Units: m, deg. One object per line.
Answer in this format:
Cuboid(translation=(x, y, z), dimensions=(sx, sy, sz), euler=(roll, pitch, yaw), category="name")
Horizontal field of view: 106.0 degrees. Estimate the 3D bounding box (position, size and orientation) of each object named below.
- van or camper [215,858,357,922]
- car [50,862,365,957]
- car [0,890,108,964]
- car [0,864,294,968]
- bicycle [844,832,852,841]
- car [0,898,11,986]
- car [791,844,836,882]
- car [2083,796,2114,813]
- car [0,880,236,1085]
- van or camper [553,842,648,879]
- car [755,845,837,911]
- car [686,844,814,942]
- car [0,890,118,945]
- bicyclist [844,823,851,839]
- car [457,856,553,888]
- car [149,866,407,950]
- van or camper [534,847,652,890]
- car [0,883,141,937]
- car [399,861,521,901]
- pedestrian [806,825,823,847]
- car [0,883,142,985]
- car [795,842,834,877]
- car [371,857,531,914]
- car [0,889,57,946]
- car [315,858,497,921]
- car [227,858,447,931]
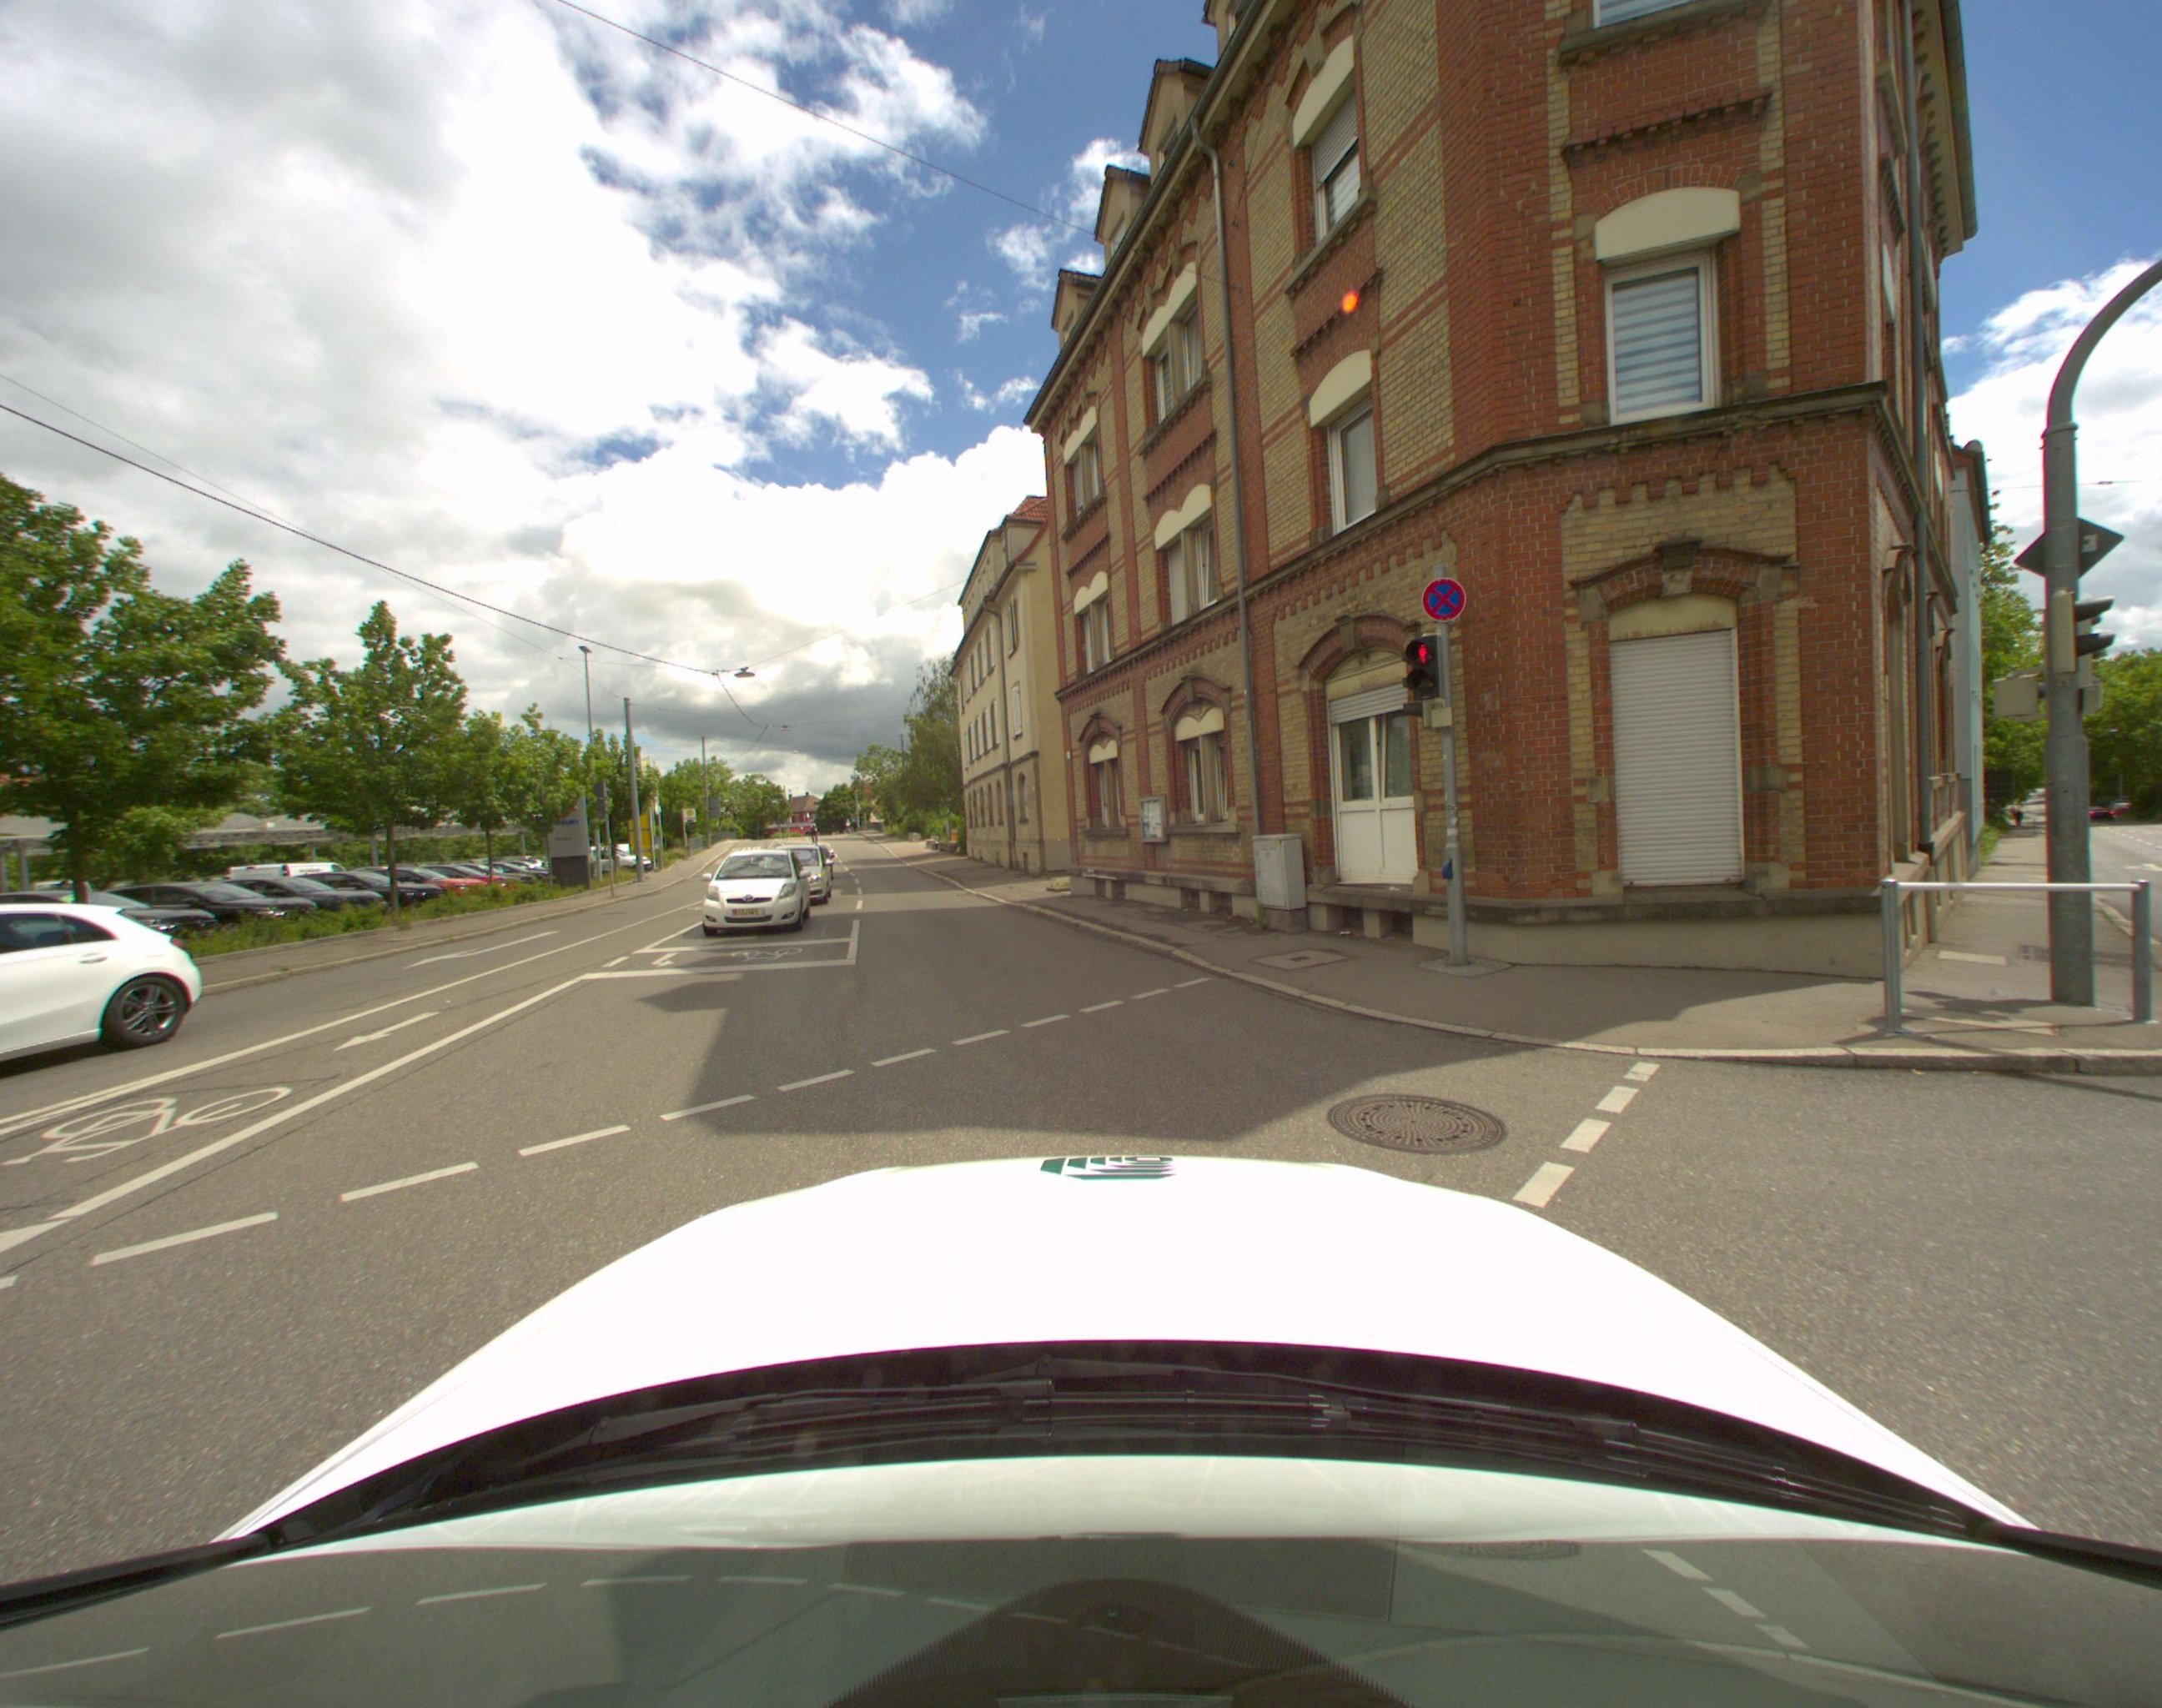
Cuboid(translation=(-31.162, 1.320, 32.145), dimensions=(1.999, 2.013, 4.657), euler=(-5, 3, -18), category="van or camper")
Cuboid(translation=(-19.047, 1.137, 18.048), dimensions=(4.291, 1.497, 1.802), euler=(-5, 3, -18), category="car")
Cuboid(translation=(-23.872, 1.675, 17.535), dimensions=(3.326, 1.373, 1.508), euler=(-5, 3, -19), category="car")
Cuboid(translation=(-18.405, 1.147, 15.646), dimensions=(4.219, 1.497, 1.802), euler=(-5, 3, -18), category="car")
Cuboid(translation=(-26.930, -1.978, 94.164), dimensions=(0.689, 0.878, 2.091), euler=(-3, -2, -14), category="bicycle")
Cuboid(translation=(-17.419, 1.354, 10.501), dimensions=(3.994, 1.497, 1.804), euler=(-5, 3, -15), category="car")
Cuboid(translation=(-11.719, 0.362, 35.623), dimensions=(1.724, 1.484, 3.301), euler=(-2, 1, -19), category="car")
Cuboid(translation=(112.816, -5.424, 90.337), dimensions=(4.637, 1.717, 1.976), euler=(-3, 0, -41), category="car")
Cuboid(translation=(-9.194, 1.117, 5.838), dimensions=(1.716, 1.496, 4.455), euler=(-5, 1, -5), category="car")
Cuboid(translation=(-29.655, 0.350, 50.474), dimensions=(1.969, 1.963, 4.980), euler=(-2, 3, 14), category="van or camper")
Cuboid(translation=(-7.710, 0.573, 22.401), dimensions=(1.722, 1.581, 4.297), euler=(-2, 1, -15), category="car")
Cuboid(translation=(-6.231, 0.632, 15.735), dimensions=(1.722, 1.581, 3.980), euler=(-2, 1, -15), category="car")
Cuboid(translation=(-32.248, 1.987, 24.817), dimensions=(3.326, 1.373, 1.508), euler=(-5, 3, -19), category="car")
Cuboid(translation=(-26.976, -2.654, 94.125), dimensions=(0.686, 1.826, 1.075), euler=(-3, -2, -14), category="bicyclist")
Cuboid(translation=(-32.691, 1.019, 46.311), dimensions=(1.794, 1.466, 4.027), euler=(-2, 3, 34), category="car")
Cuboid(translation=(-19.774, 1.272, 20.300), dimensions=(4.066, 1.497, 1.802), euler=(-5, 3, -18), category="car")
Cuboid(translation=(-25.091, 0.688, 42.074), dimensions=(4.675, 1.749, 1.991), euler=(-4, 3, -14), category="van or camper")
Cuboid(translation=(-33.811, 1.855, 26.799), dimensions=(3.326, 1.373, 1.508), euler=(-5, 3, -19), category="car")
Cuboid(translation=(-30.095, 1.253, 39.589), dimensions=(4.546, 1.436, 1.990), euler=(-6, 3, -38), category="car")
Cuboid(translation=(-23.330, -1.605, 71.276), dimensions=(1.027, 1.836, 1.002), euler=(-2, 3, 8), category="pedestrian")
Cuboid(translation=(-18.344, 1.404, 12.923), dimensions=(4.074, 1.394, 1.804), euler=(-5, 3, -15), category="car")
Cuboid(translation=(-13.467, 0.248, 41.093), dimensions=(1.724, 1.581, 3.974), euler=(-2, 1, -19), category="car")
Cuboid(translation=(-21.566, 1.027, 28.093), dimensions=(3.861, 1.497, 1.801), euler=(-5, 3, -19), category="car")
Cuboid(translation=(-30.182, 1.831, 21.610), dimensions=(3.326, 1.373, 1.508), euler=(-5, 3, -19), category="car")
Cuboid(translation=(-20.872, 1.050, 25.374), dimensions=(3.838, 1.497, 1.802), euler=(-5, 3, -18), category="car")
Cuboid(translation=(-20.483, 1.068, 22.654), dimensions=(3.993, 1.497, 1.802), euler=(-5, 3, -18), category="car")
